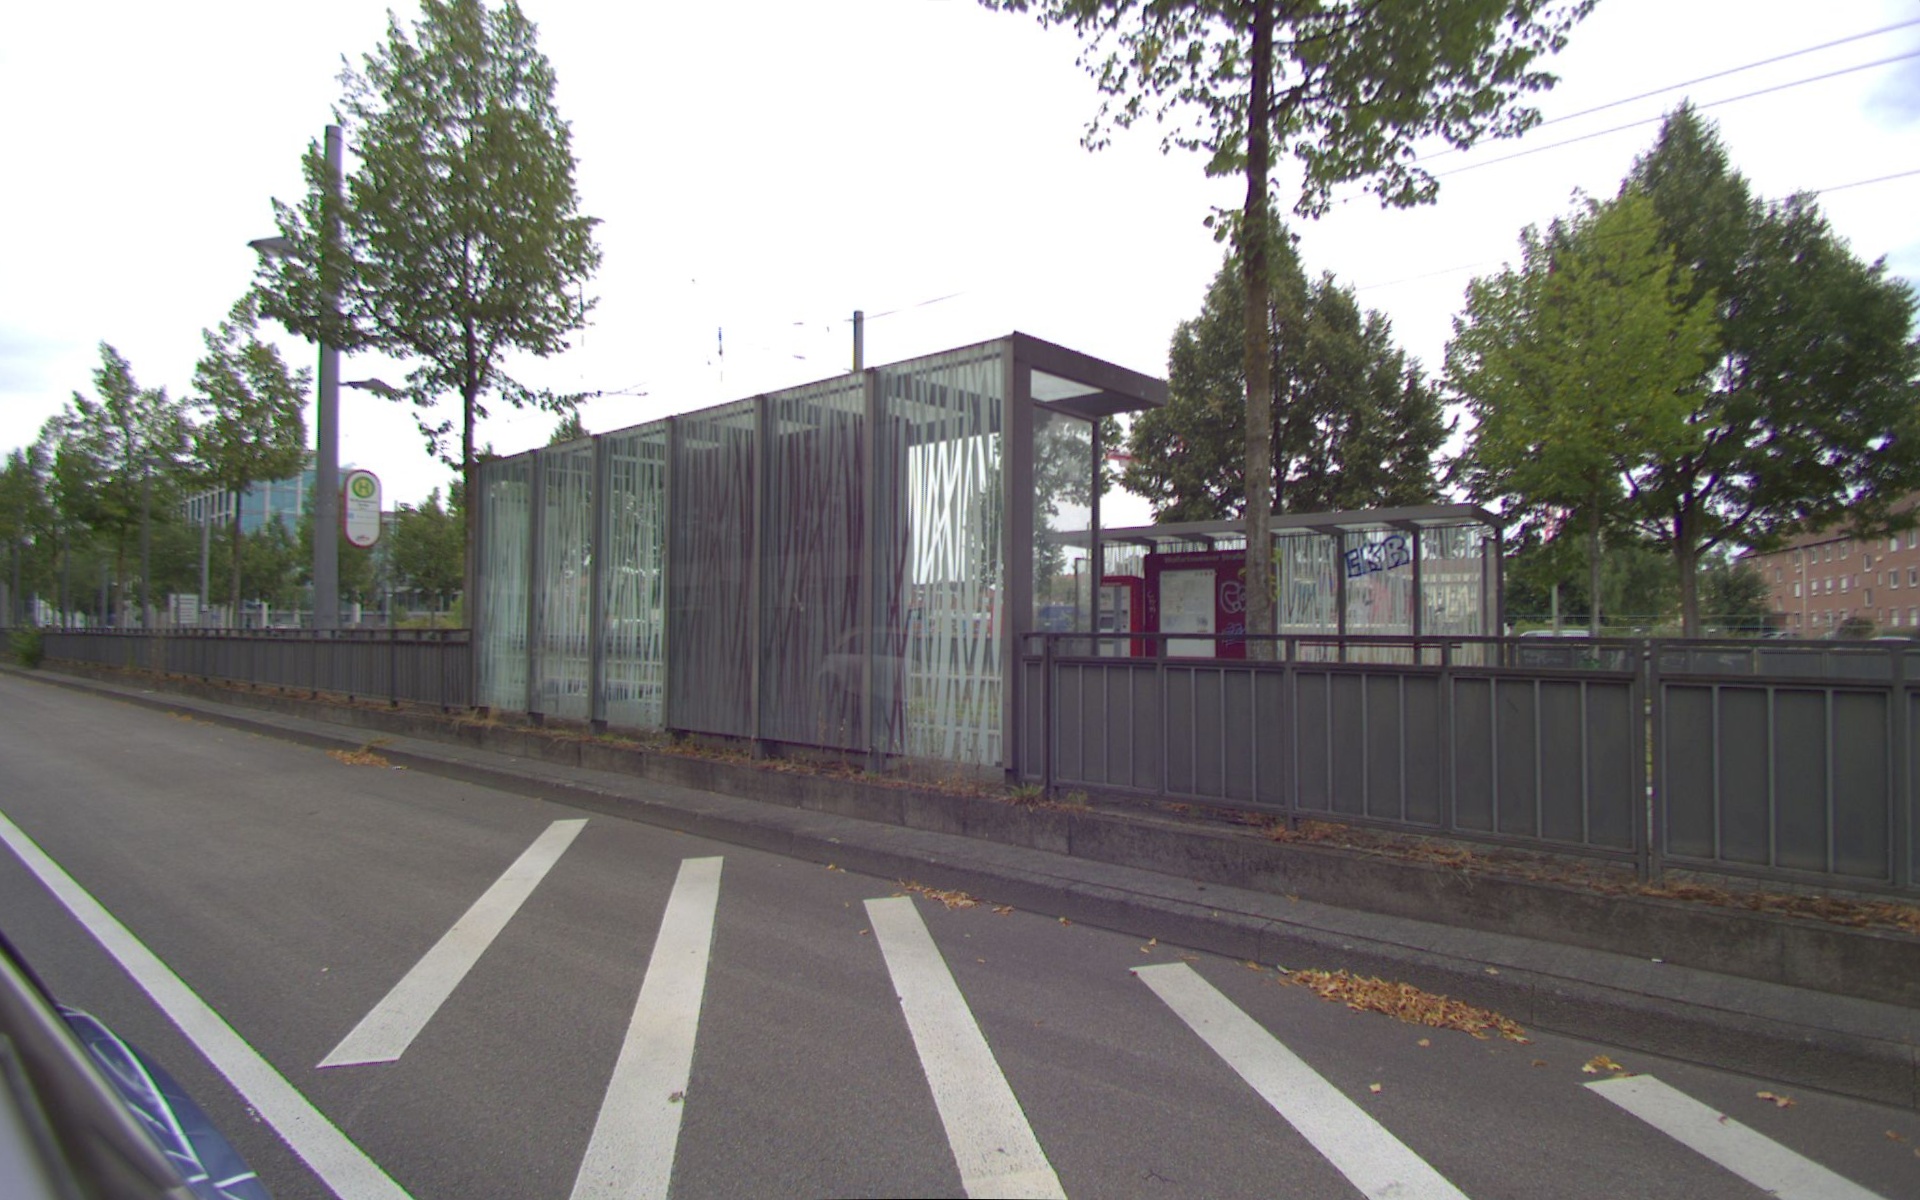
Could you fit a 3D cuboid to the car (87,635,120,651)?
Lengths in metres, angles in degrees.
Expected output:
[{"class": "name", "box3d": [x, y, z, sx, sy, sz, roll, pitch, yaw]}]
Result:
[{"class": "car", "box3d": [-91.170, 4.599, 107.656, 4.686, 1.669, 1.809, -2, -3, 39]}]

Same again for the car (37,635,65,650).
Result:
[{"class": "car", "box3d": [-117.224, 5.498, 130.540, 5.092, 1.959, 1.973, -2, -3, 40]}]
